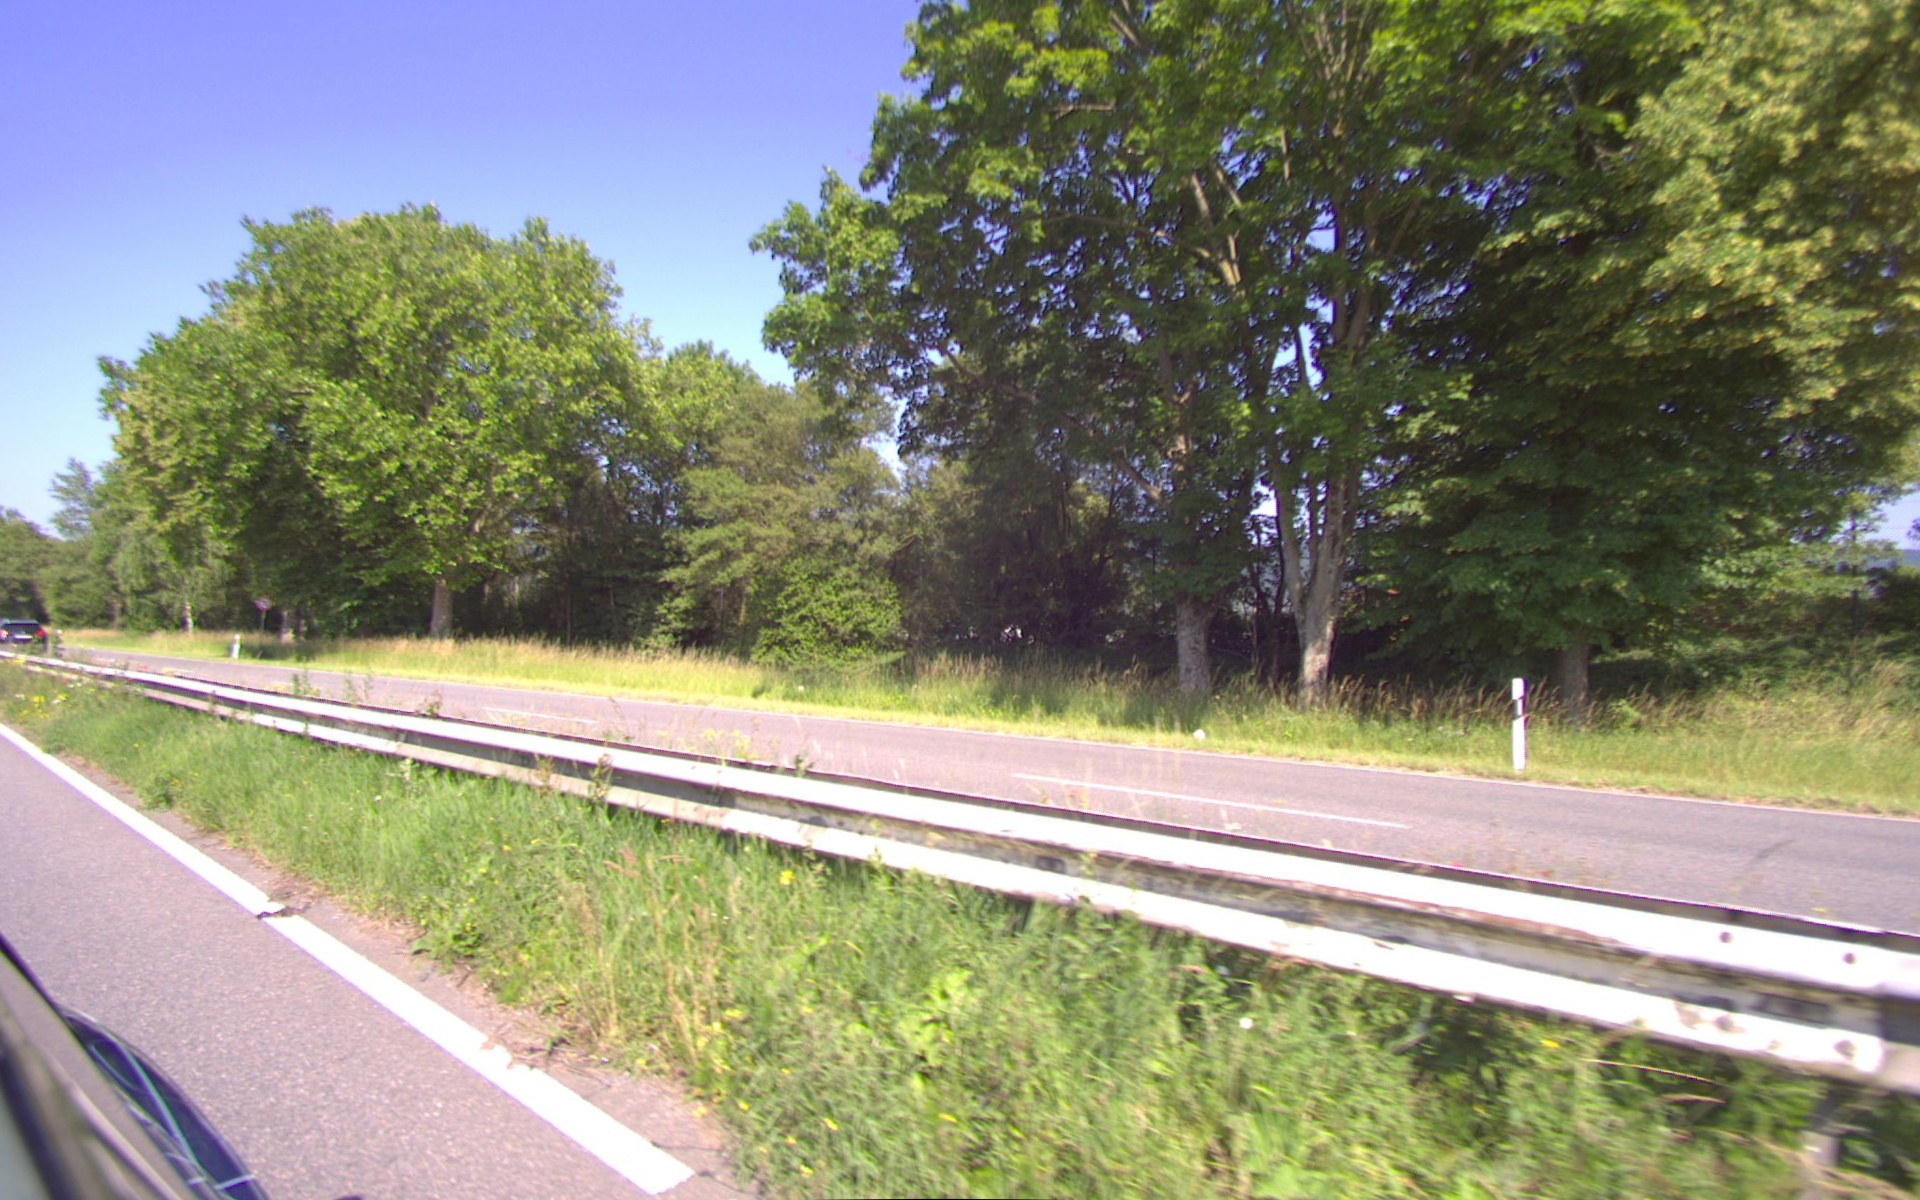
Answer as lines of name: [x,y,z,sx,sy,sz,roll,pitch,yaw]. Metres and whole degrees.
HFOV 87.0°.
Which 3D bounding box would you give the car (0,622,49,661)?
car: [-39.337,1.697,42.054,4.161,1.542,1.759,-1,-3,43]
